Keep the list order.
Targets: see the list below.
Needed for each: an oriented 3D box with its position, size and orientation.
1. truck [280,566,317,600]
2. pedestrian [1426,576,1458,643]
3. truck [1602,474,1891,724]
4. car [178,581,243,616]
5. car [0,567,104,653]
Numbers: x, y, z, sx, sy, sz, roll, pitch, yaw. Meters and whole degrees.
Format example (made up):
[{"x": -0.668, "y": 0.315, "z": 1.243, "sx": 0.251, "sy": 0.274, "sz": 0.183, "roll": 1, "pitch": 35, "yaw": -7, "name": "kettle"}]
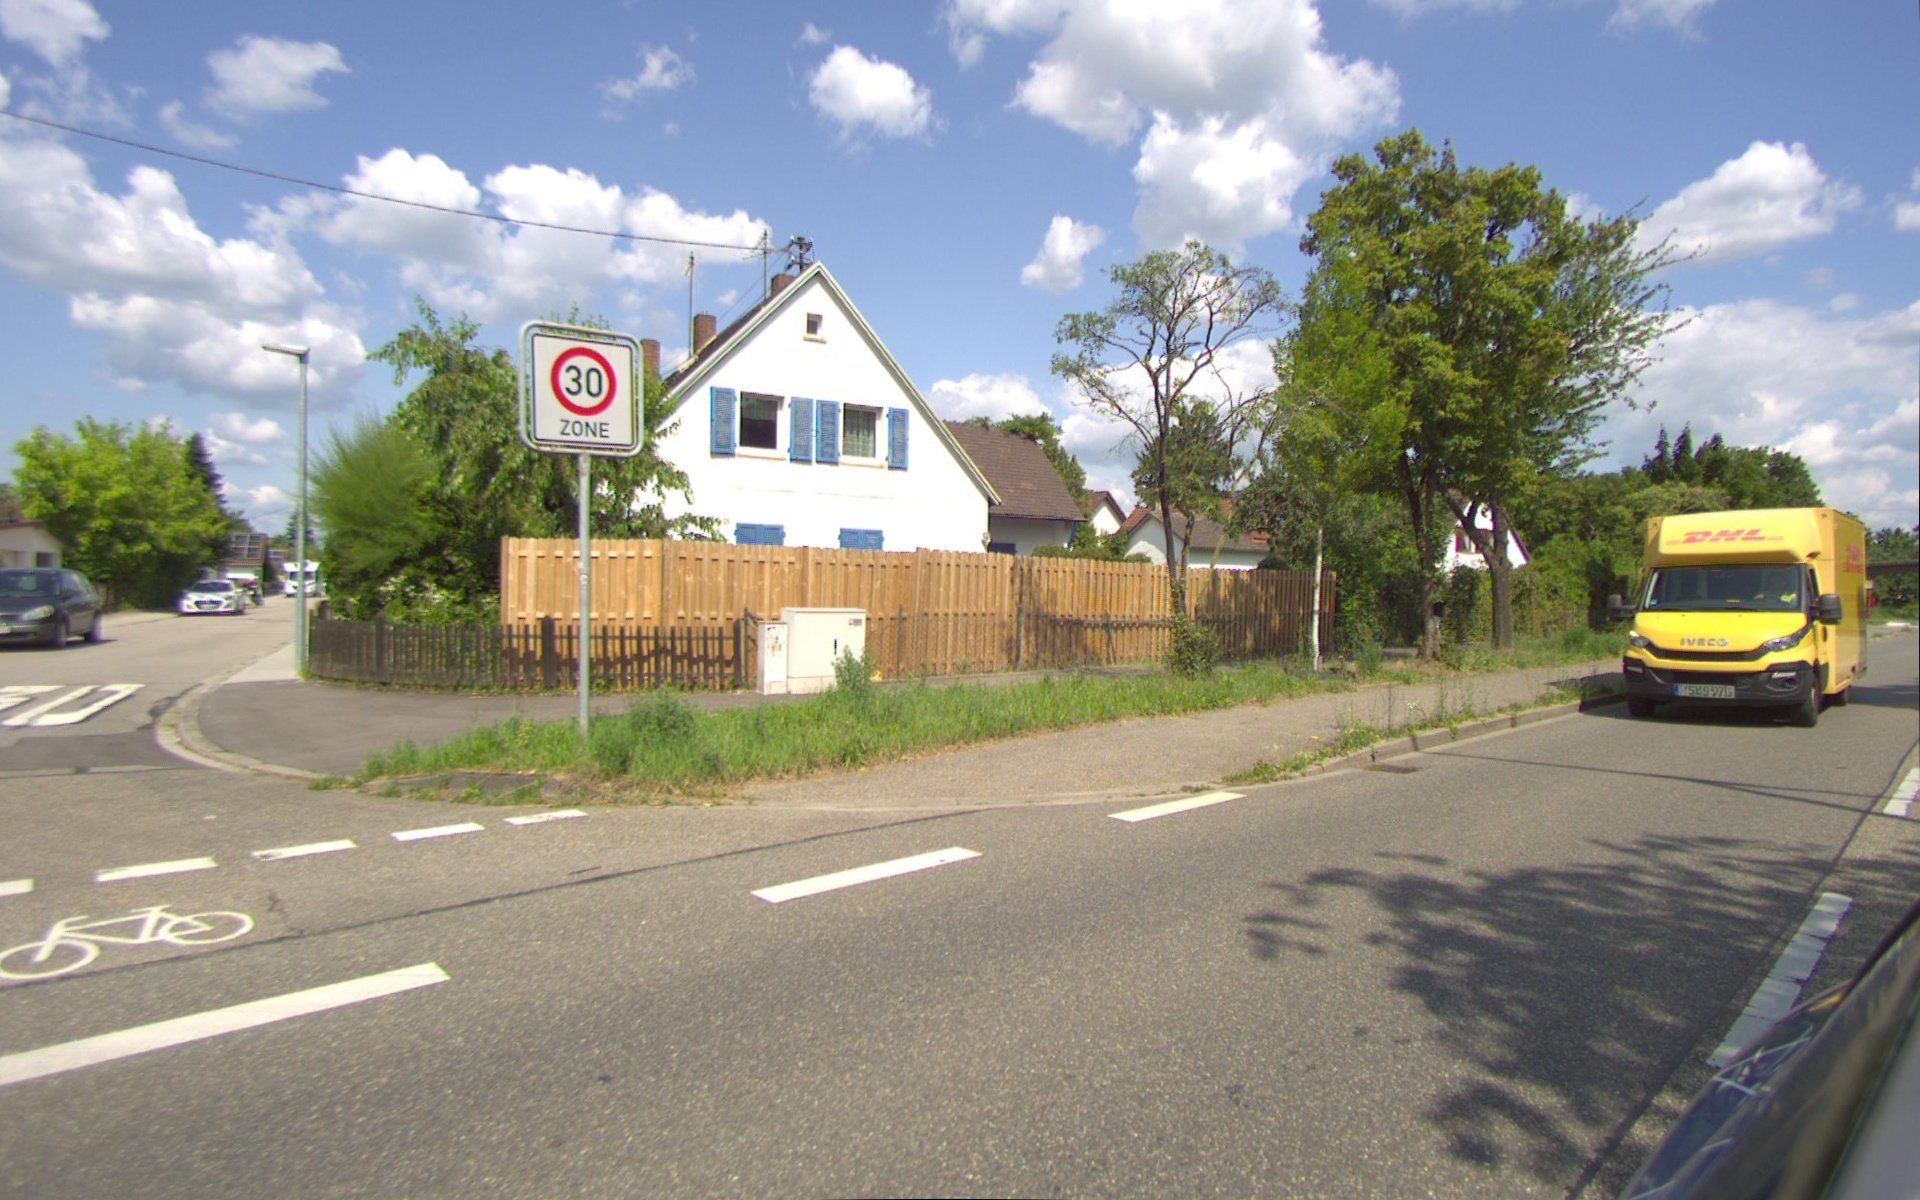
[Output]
[{"x": -53.895, "y": -1.372, "z": 82.537, "sx": 2.234, "sy": 2.681, "sz": 4.857, "roll": 0, "pitch": 0, "yaw": -30, "name": "truck"}, {"x": 12.279, "y": 0.237, "z": 25.783, "sx": 0.623, "sy": 1.698, "sz": 0.560, "roll": 1, "pitch": 0, "yaw": -43, "name": "pedestrian"}, {"x": 12.200, "y": 0.051, "z": 15.361, "sx": 7.892, "sy": 2.918, "sz": 2.267, "roll": 1, "pitch": -2, "yaw": -43, "name": "truck"}, {"x": -31.248, "y": -0.075, "z": 42.286, "sx": 1.687, "sy": 1.391, "sz": 4.060, "roll": 0, "pitch": 1, "yaw": -30, "name": "car"}, {"x": -18.902, "y": 0.149, "z": 20.432, "sx": 1.687, "sy": 1.588, "sz": 4.284, "roll": 0, "pitch": 1, "yaw": -30, "name": "car"}]
